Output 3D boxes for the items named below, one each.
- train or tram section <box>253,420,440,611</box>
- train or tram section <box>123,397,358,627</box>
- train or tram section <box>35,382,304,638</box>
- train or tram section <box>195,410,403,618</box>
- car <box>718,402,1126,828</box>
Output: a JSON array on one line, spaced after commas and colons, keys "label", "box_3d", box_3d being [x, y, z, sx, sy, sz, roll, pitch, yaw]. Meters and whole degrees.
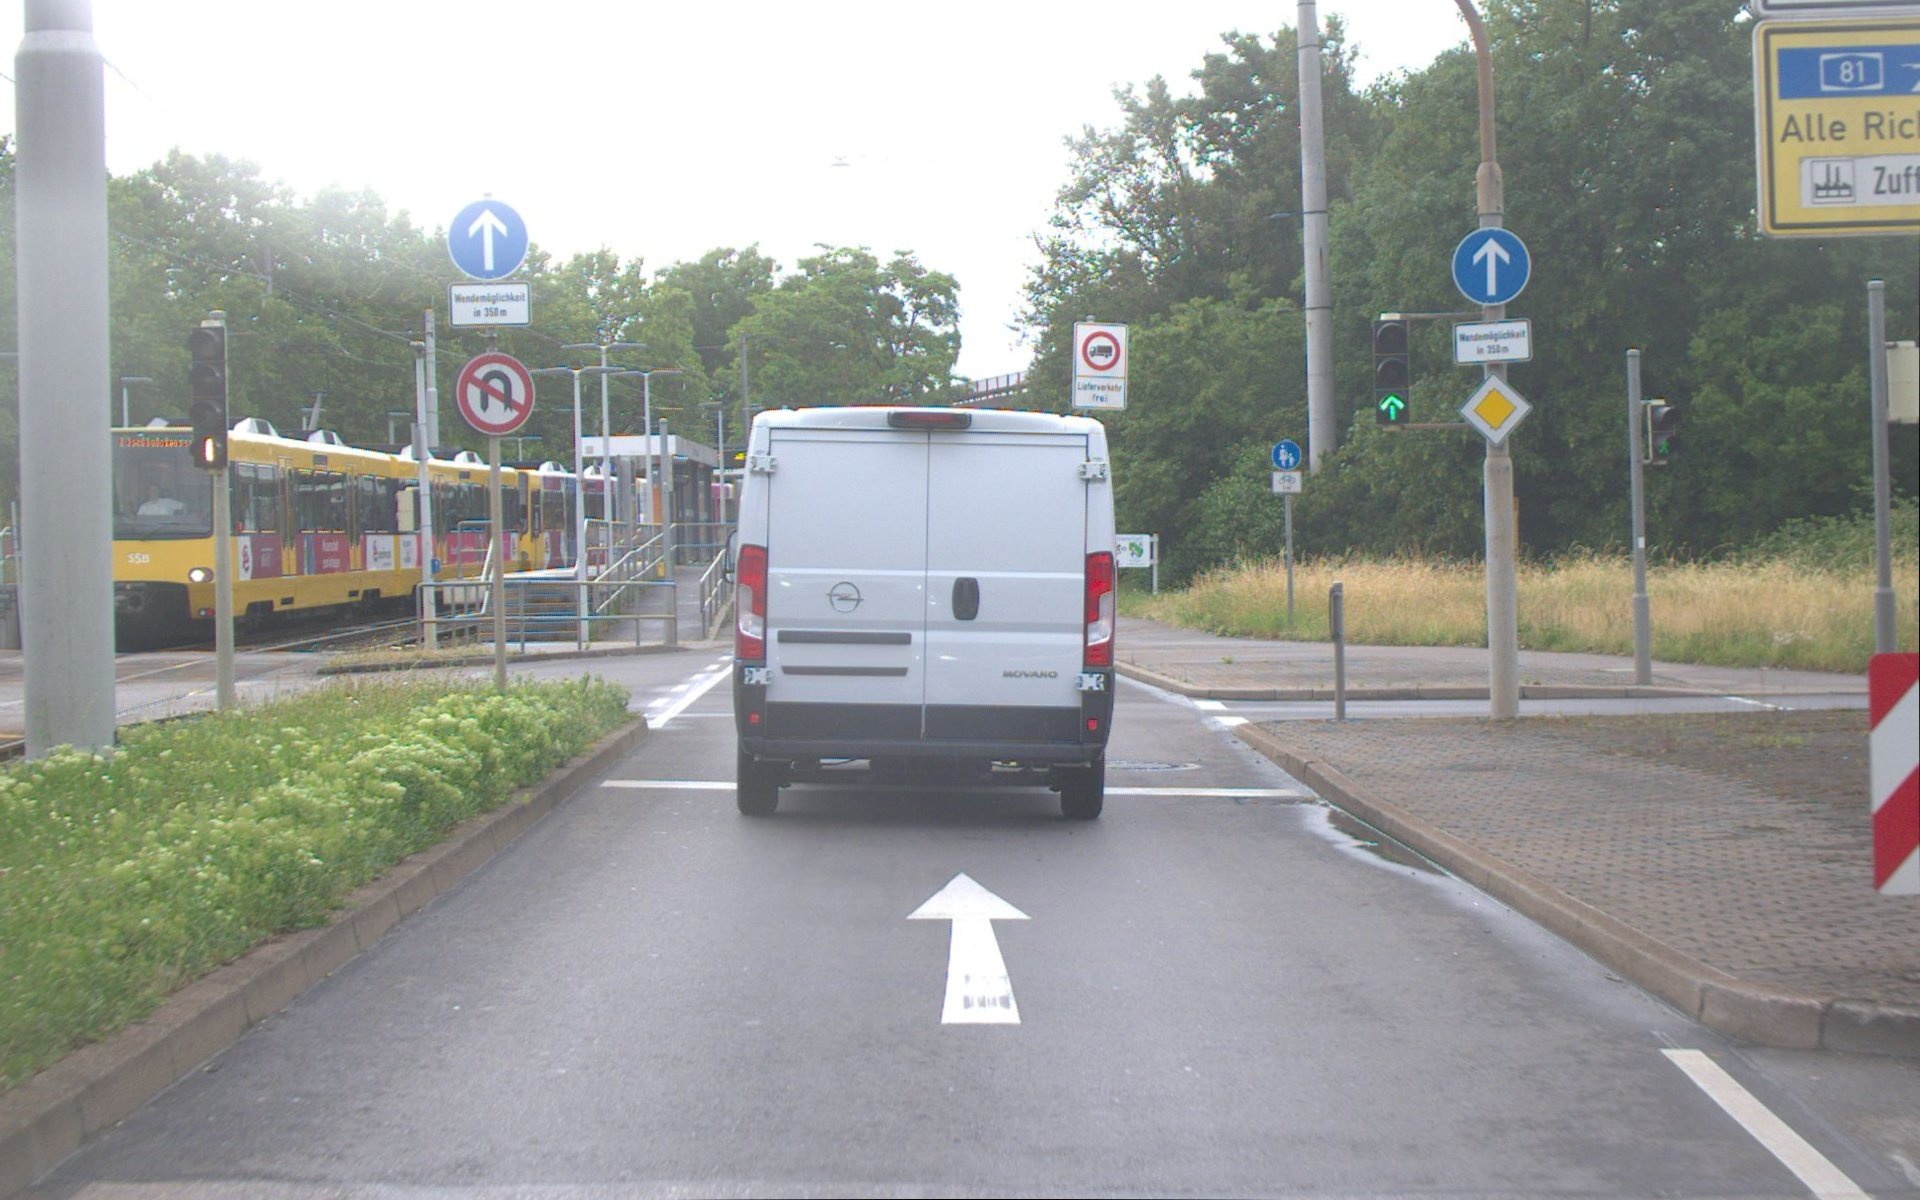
[{"label": "train or tram section", "box_3d": [-13.372, -1.840, 75.521, 2.928, 3.919, 7.006, 1, 1, -1]}, {"label": "train or tram section", "box_3d": [-13.082, -1.590, 63.080, 2.928, 3.919, 7.006, 1, 1, -1]}, {"label": "train or tram section", "box_3d": [-12.964, -1.469, 56.974, 2.928, 3.919, 7.006, 1, 1, -1]}, {"label": "train or tram section", "box_3d": [-13.226, -1.715, 69.324, 2.928, 3.919, 7.006, 1, 1, -1]}, {"label": "car", "box_3d": [-0.327, 0.010, 20.382, 2.090, 2.189, 5.062, 1, 2, -3]}]
